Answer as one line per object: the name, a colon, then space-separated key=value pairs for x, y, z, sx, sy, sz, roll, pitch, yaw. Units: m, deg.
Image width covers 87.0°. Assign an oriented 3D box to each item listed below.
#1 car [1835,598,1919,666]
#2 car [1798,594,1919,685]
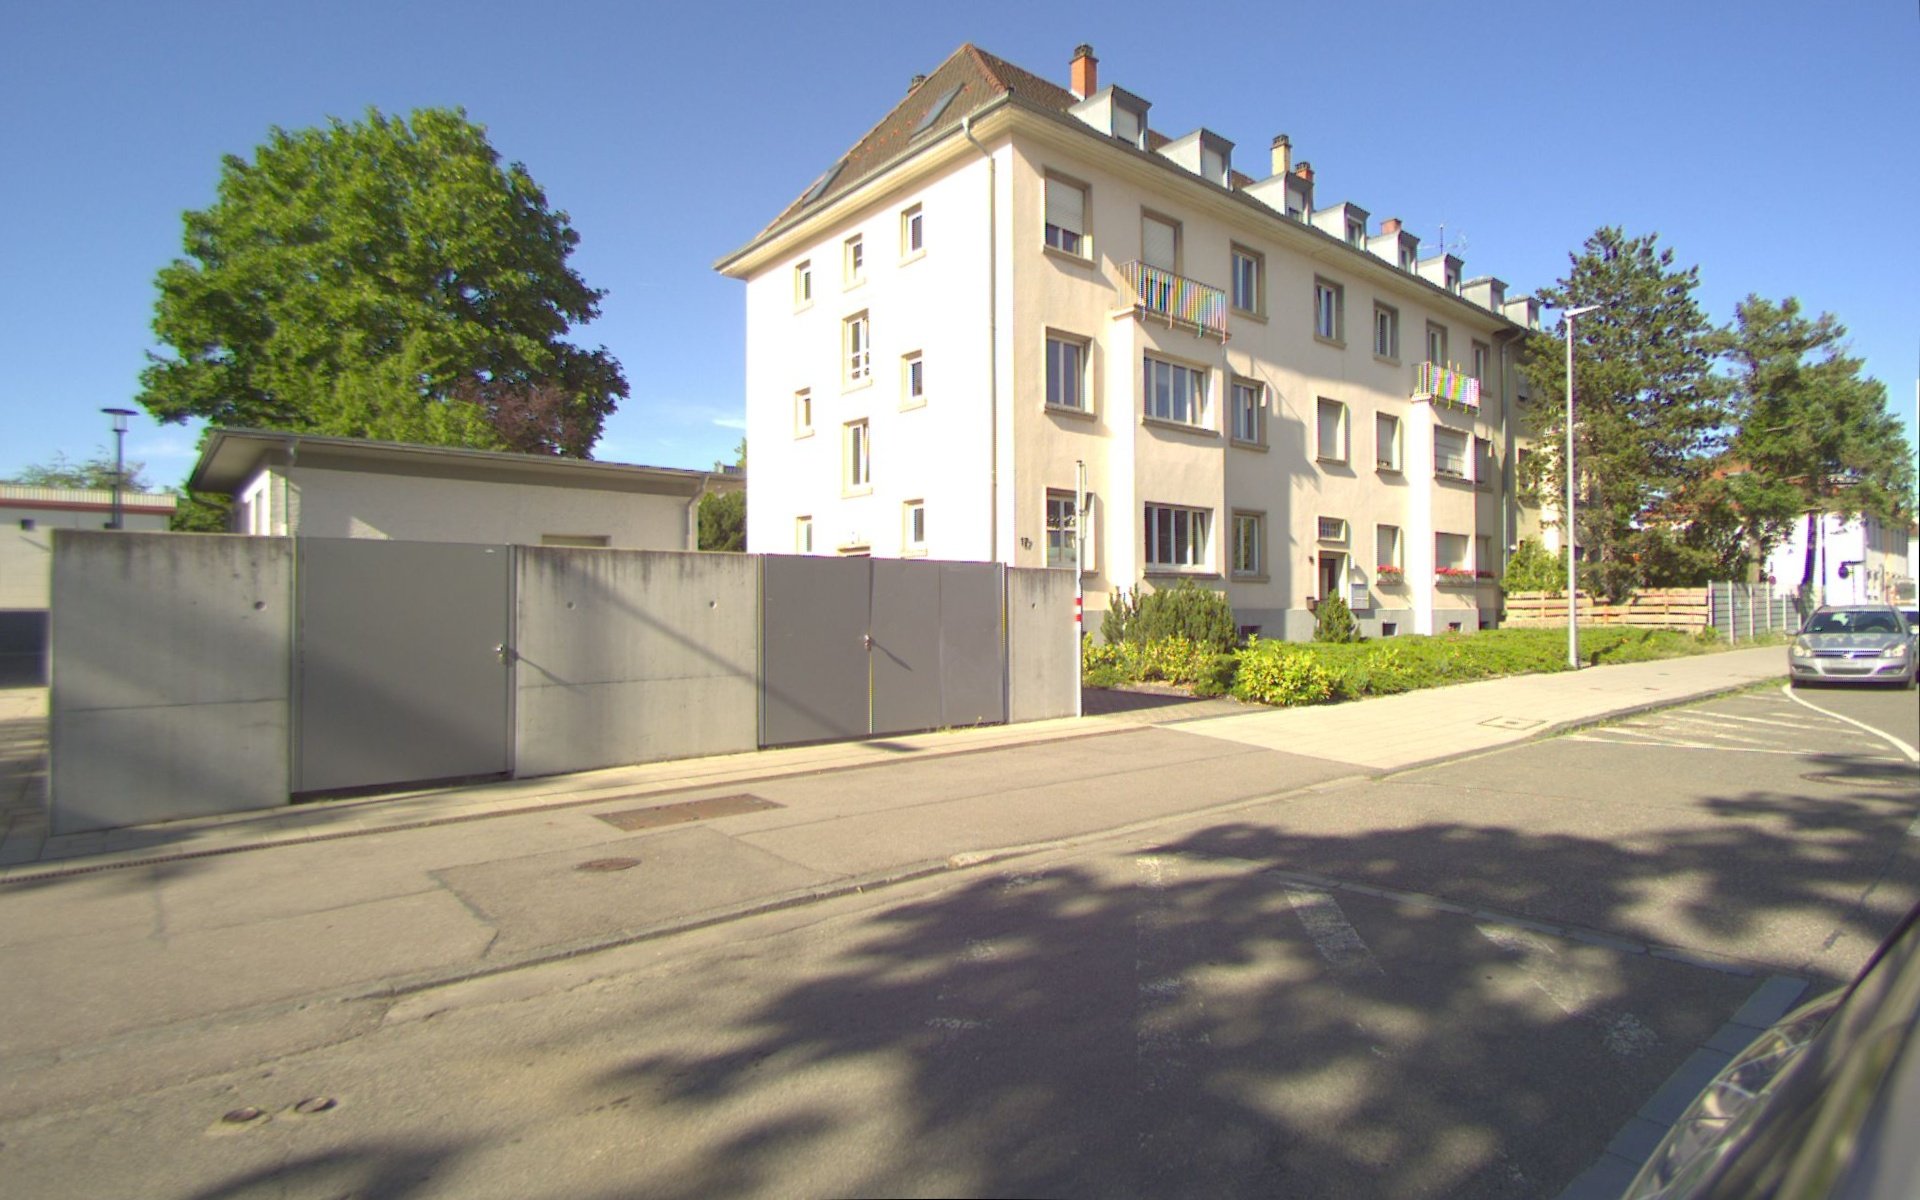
car: x=21.441 y=0.680 z=22.923 sx=4.212 sy=1.439 sz=1.797 roll=0 pitch=-2 yaw=-40
car: x=16.808 y=0.672 z=18.623 sx=4.339 sy=1.484 sz=1.660 roll=0 pitch=-2 yaw=-44
